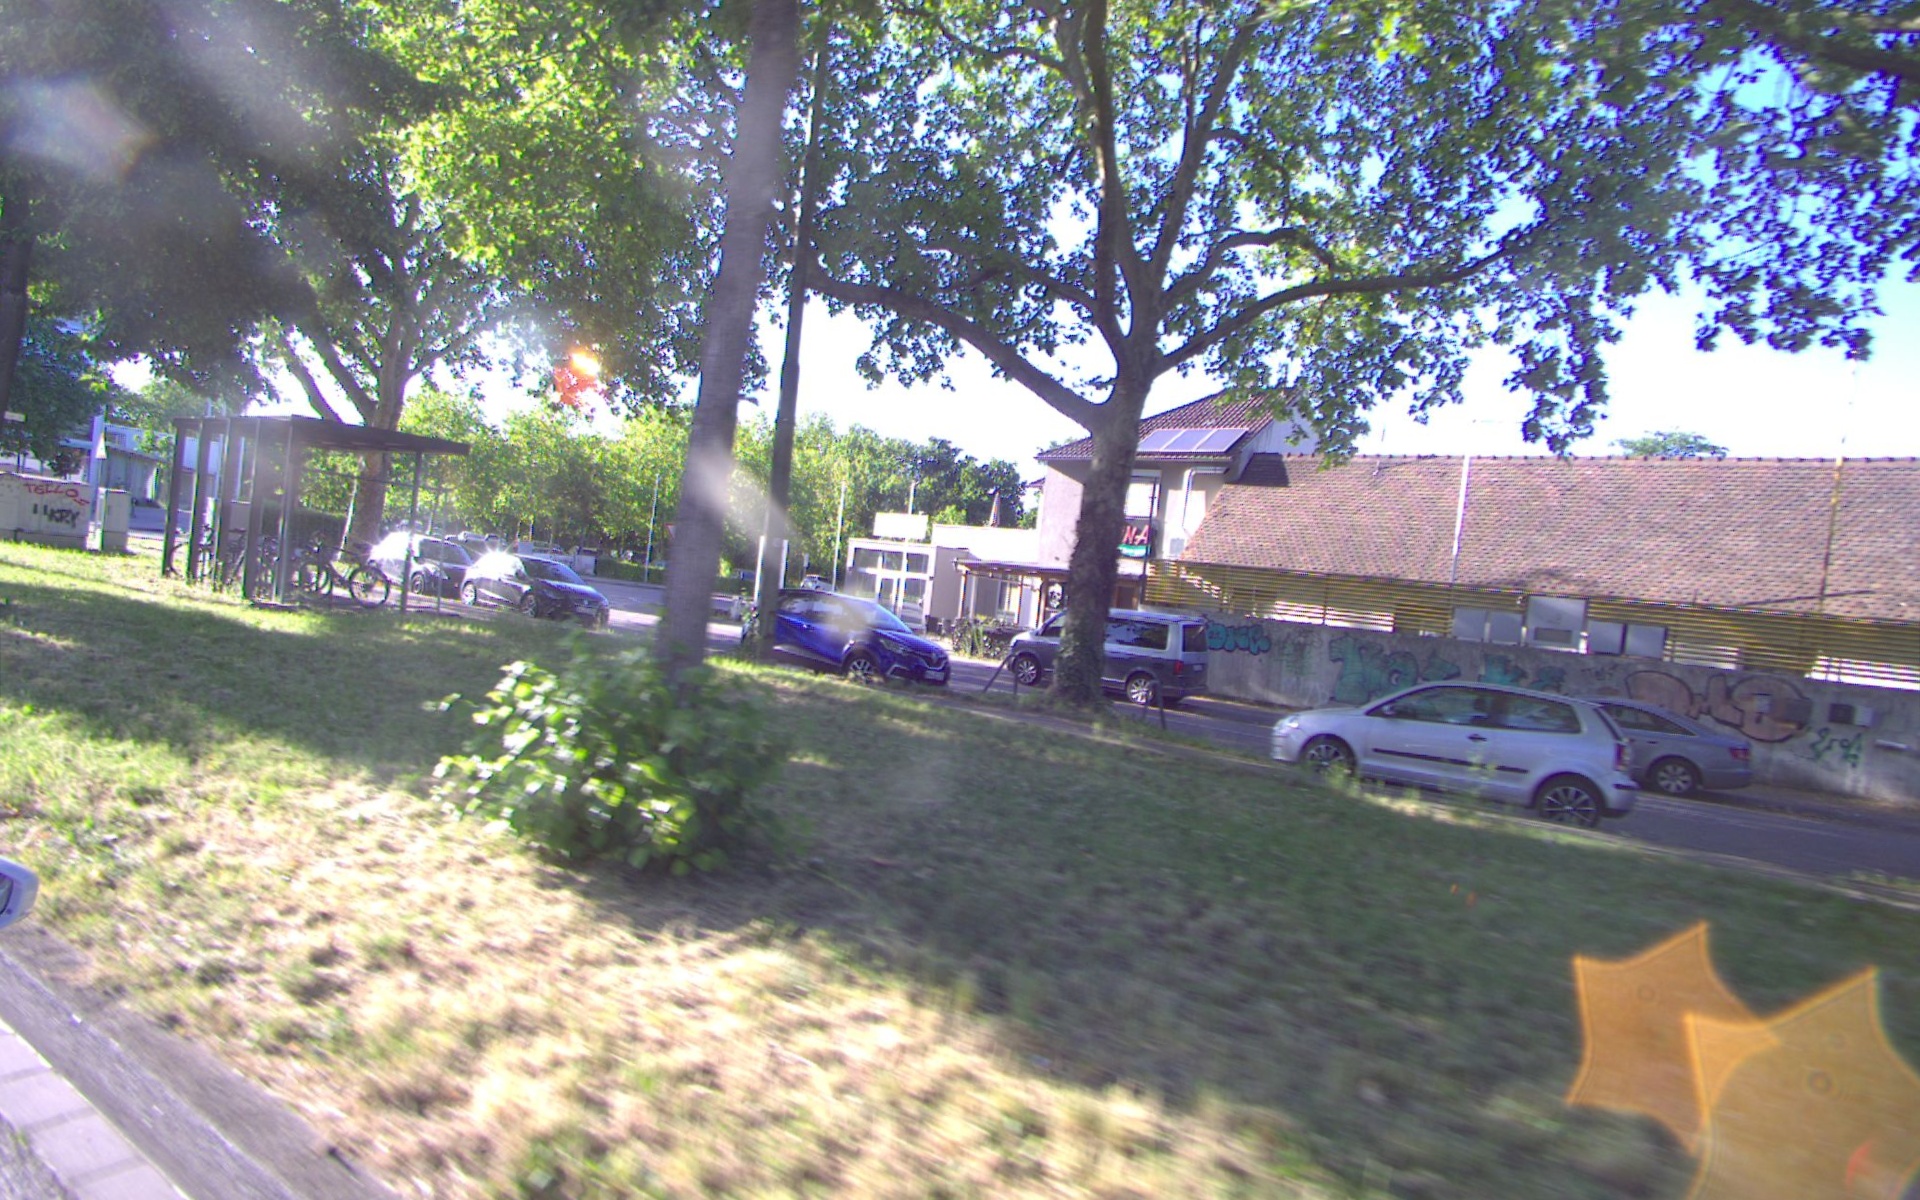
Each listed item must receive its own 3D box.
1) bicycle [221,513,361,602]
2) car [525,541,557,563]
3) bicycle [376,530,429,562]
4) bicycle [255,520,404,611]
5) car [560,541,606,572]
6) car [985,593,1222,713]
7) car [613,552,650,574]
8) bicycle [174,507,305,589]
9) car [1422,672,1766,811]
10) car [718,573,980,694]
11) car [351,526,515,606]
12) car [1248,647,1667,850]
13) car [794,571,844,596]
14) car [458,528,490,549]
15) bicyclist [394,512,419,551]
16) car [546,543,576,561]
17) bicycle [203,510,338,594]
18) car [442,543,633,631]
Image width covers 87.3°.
[{"bbox_3d":[-10.682,-0.654,16.113,0.542,1.183,1.697,7,0,33],"label":"bicycle"},{"bbox_3d":[-35.448,-4.053,85.120,1.978,1.483,3.969,8,0,-29],"label":"car"},{"bbox_3d":[-26.823,-2.595,48.411,2.082,1.219,0.546,7,2,-32],"label":"bicycle"},{"bbox_3d":[-9.766,-0.514,15.646,0.542,1.183,1.804,7,0,35],"label":"bicycle"},{"bbox_3d":[-23.085,-2.688,61.504,1.978,1.483,3.969,8,0,-29],"label":"car"},{"bbox_3d":[3.261,1.154,23.477,4.989,2.063,1.893,7,2,34],"label":"car"},{"bbox_3d":[-28.947,-3.296,88.624,1.981,1.483,3.964,8,0,-33],"label":"car"},{"bbox_3d":[-12.524,-0.893,17.530,0.543,1.183,1.694,7,0,40],"label":"bicycle"},{"bbox_3d":[11.120,2.399,17.929,4.838,1.504,1.894,7,0,37],"label":"car"},{"bbox_3d":[-1.998,0.554,17.545,4.279,1.506,1.894,7,0,36],"label":"car"},{"bbox_3d":[-13.193,-0.857,25.143,3.973,1.483,1.895,7,0,35],"label":"car"},{"bbox_3d":[5.715,1.593,11.826,3.983,1.504,1.896,7,0,32],"label":"car"},{"bbox_3d":[-12.867,-1.518,91.981,3.980,1.481,1.976,13,-2,-42],"label":"car"},{"bbox_3d":[-42.543,-5.389,88.053,1.981,1.483,3.964,8,0,-33],"label":"car"},{"bbox_3d":[-26.670,-3.291,48.458,0.868,1.759,0.825,6,2,-32],"label":"bicyclist"},{"bbox_3d":[-40.441,-4.875,101.911,1.981,1.483,3.964,8,0,-33],"label":"car"},{"bbox_3d":[-11.569,-0.787,16.925,0.542,1.183,1.697,7,0,34],"label":"bicycle"},{"bbox_3d":[-9.576,-0.312,22.687,4.278,1.429,1.895,7,0,36],"label":"car"}]
